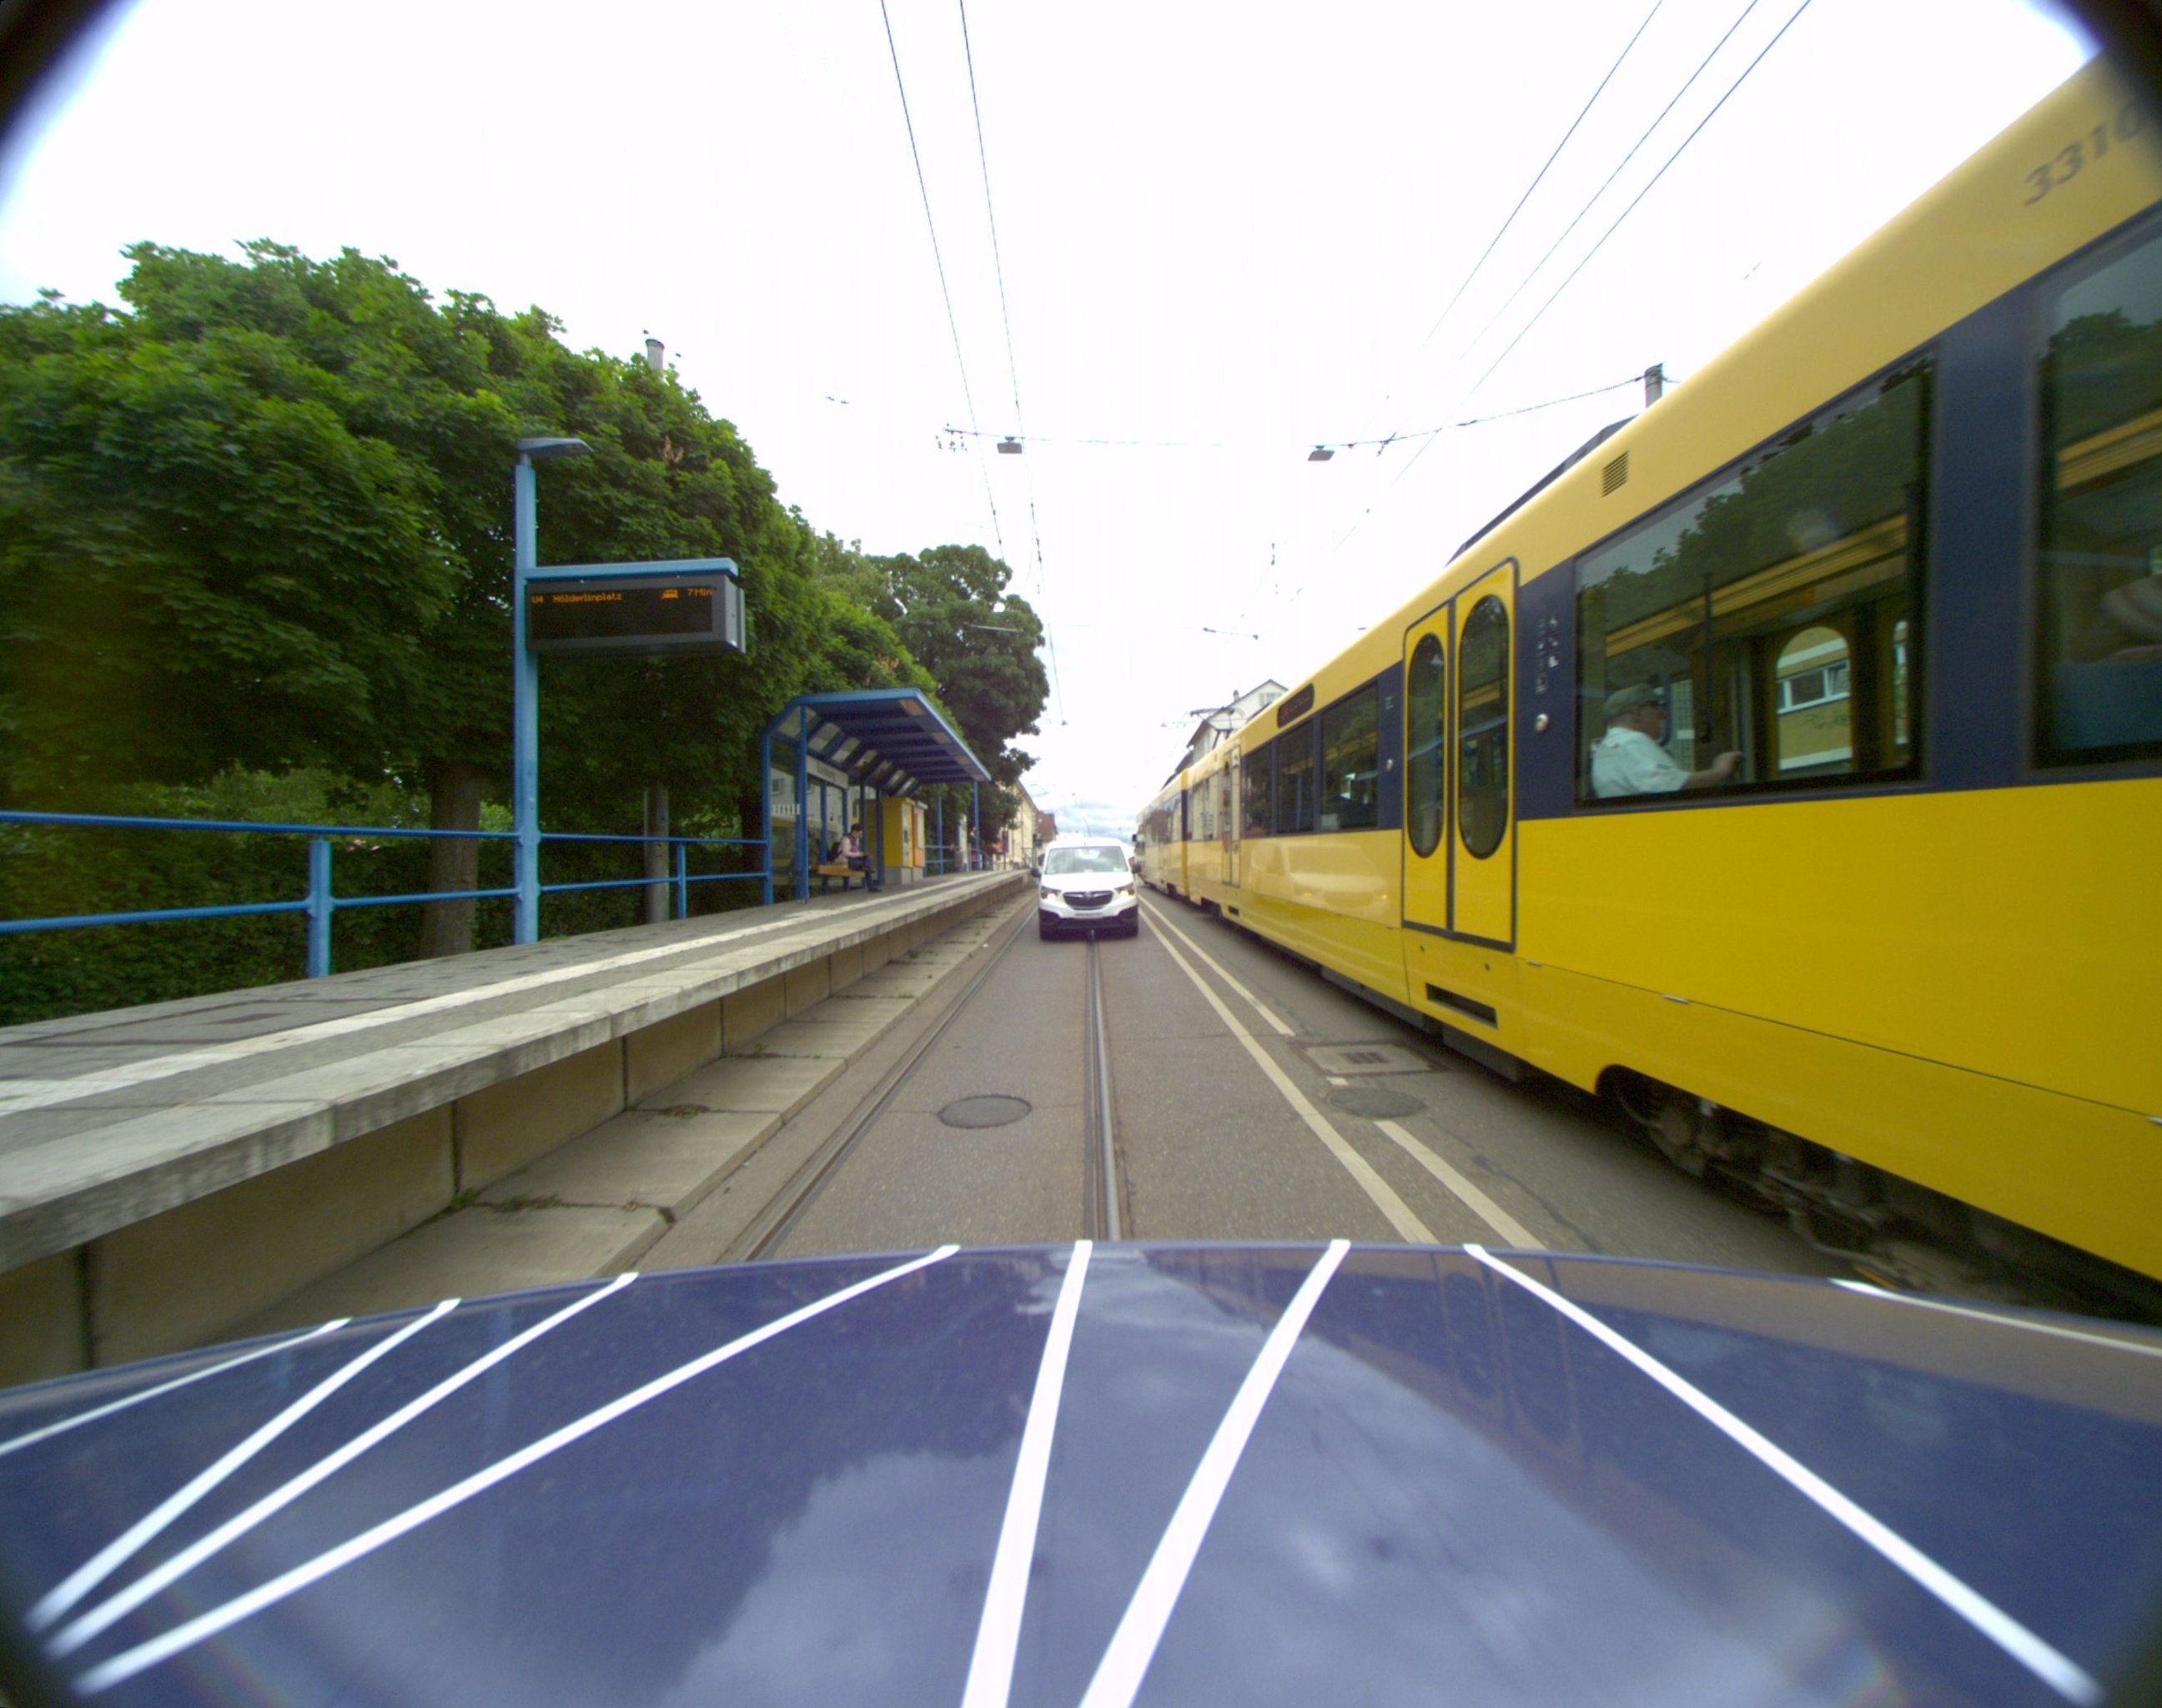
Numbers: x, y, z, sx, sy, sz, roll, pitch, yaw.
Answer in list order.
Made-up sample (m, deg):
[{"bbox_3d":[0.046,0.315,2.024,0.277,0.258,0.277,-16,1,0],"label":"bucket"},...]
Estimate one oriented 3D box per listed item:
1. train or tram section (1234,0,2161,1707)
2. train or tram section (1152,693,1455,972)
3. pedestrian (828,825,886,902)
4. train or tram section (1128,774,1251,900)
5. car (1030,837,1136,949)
[{"bbox_3d":[3.456,-0.223,4.049,2.857,3.615,12.129,-2,0,1],"label":"train or tram section"},{"bbox_3d":[3.528,-0.297,16.161,2.831,3.615,12.129,-2,0,0],"label":"train or tram section"},{"bbox_3d":[-3.993,0.164,13.594,0.781,1.307,0.657,-2,1,1],"label":"pedestrian"},{"bbox_3d":[3.553,-0.504,28.309,2.758,3.615,12.129,-2,0,0],"label":"train or tram section"},{"bbox_3d":[0.103,0.676,15.094,1.730,1.850,4.421,-2,0,2],"label":"car"}]
